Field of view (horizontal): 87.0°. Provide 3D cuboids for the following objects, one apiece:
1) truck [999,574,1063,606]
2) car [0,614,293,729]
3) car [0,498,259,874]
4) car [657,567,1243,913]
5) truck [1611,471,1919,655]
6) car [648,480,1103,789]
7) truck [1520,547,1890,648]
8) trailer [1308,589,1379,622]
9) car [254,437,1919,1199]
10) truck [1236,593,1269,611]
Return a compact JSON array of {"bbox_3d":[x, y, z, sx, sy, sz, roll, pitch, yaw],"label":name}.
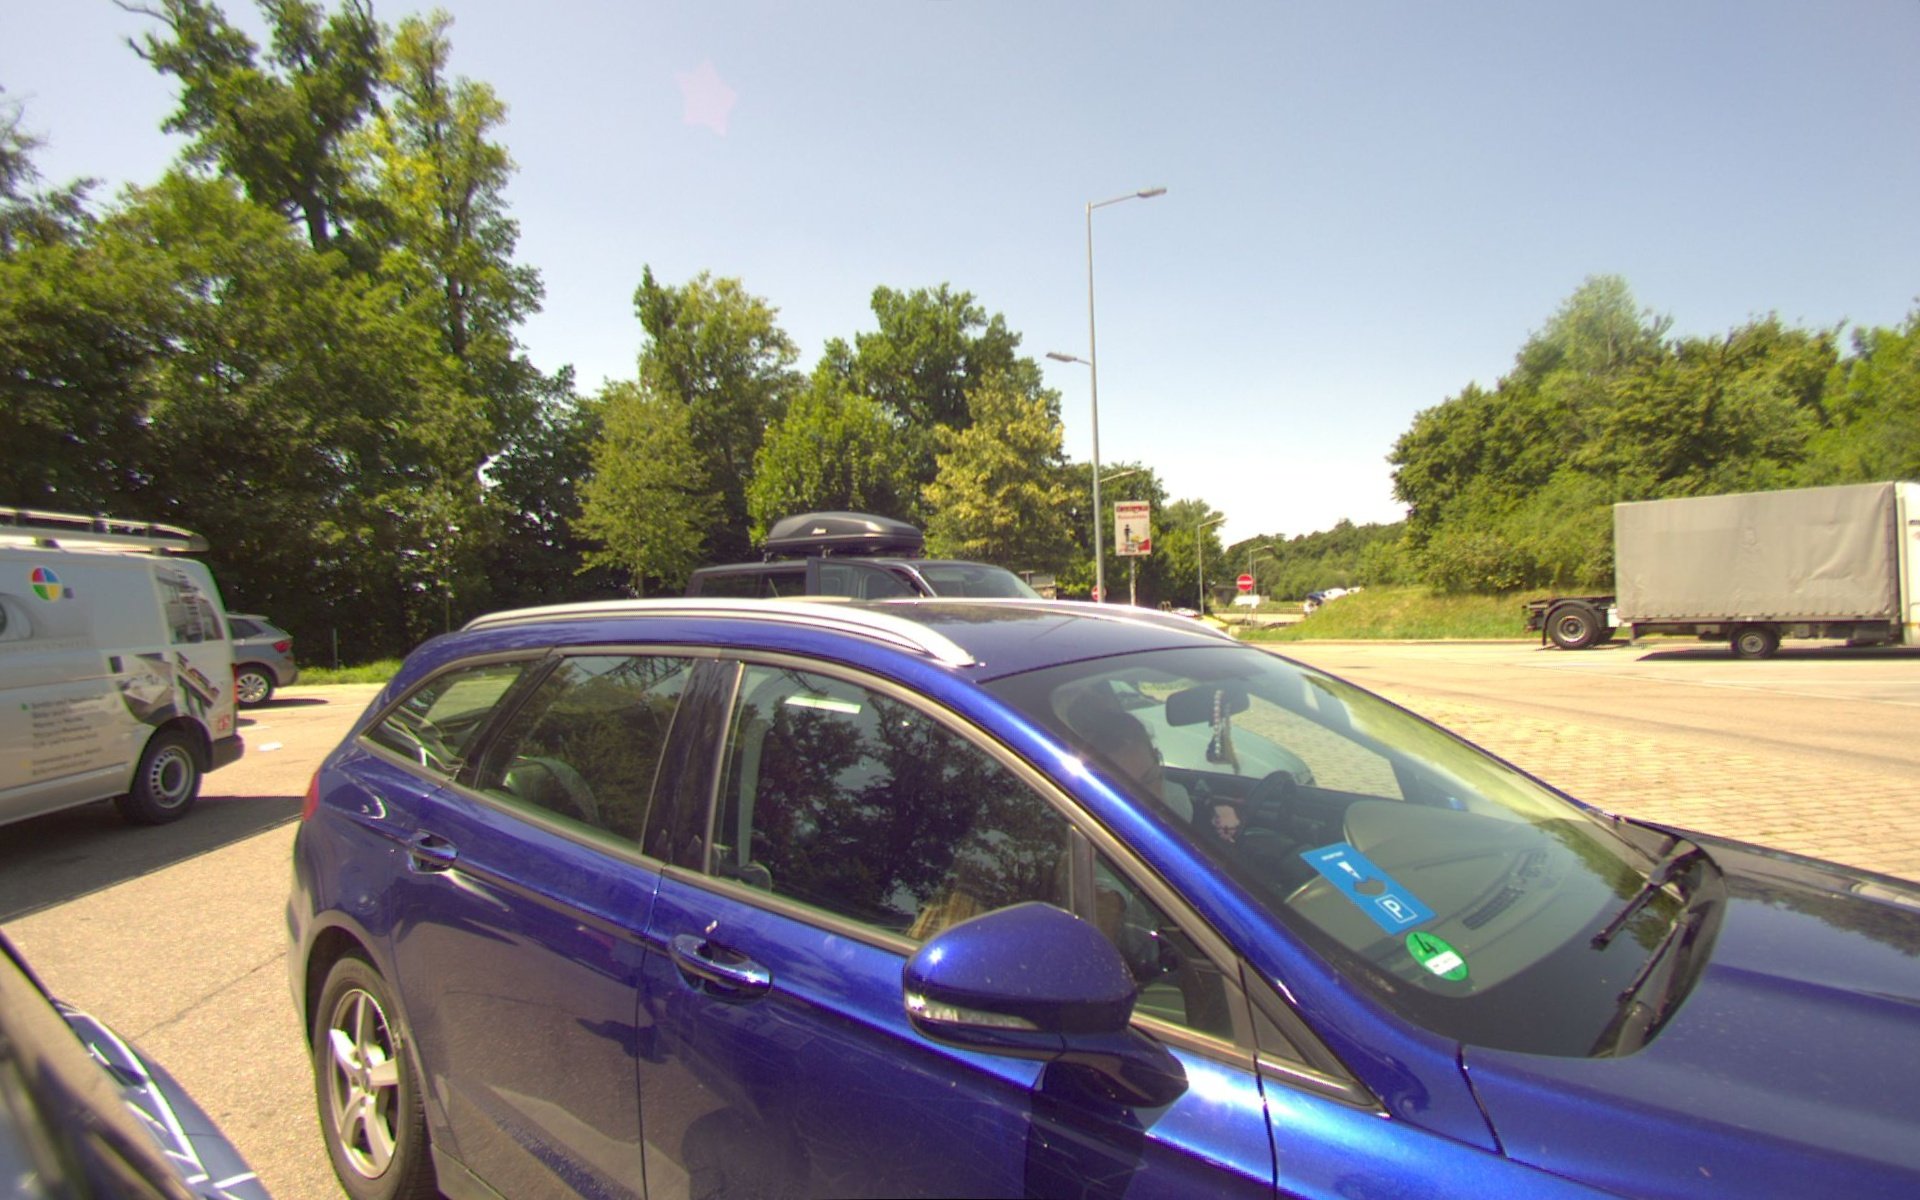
[{"bbox_3d":[3.416,-0.462,48.750,2.866,1.386,1.158,-2,-1,22],"label":"truck"},{"bbox_3d":[-12.583,1.009,15.673,3.535,1.513,1.708,-1,0,-42],"label":"car"},{"bbox_3d":[-6.308,0.484,5.352,1.816,2.121,5.440,0,-1,-5],"label":"car"},{"bbox_3d":[-0.208,0.593,5.557,3.112,1.370,1.326,-2,-1,41],"label":"car"},{"bbox_3d":[16.605,-0.626,18.833,7.253,3.175,2.148,-2,-1,41],"label":"truck"},{"bbox_3d":[-0.904,0.321,9.566,4.076,2.336,1.767,-2,-1,35],"label":"car"},{"bbox_3d":[16.897,0.043,23.372,6.613,2.029,1.973,-2,-1,41],"label":"truck"},{"bbox_3d":[50.059,0.641,132.662,3.113,4.077,14.991,-1,0,-2],"label":"trailer"},{"bbox_3d":[0.217,0.643,2.068,4.411,1.429,1.721,-2,-1,41],"label":"car"},{"bbox_3d":[67.990,0.443,235.465,2.805,4.148,12.005,-1,0,-6],"label":"truck"}]
